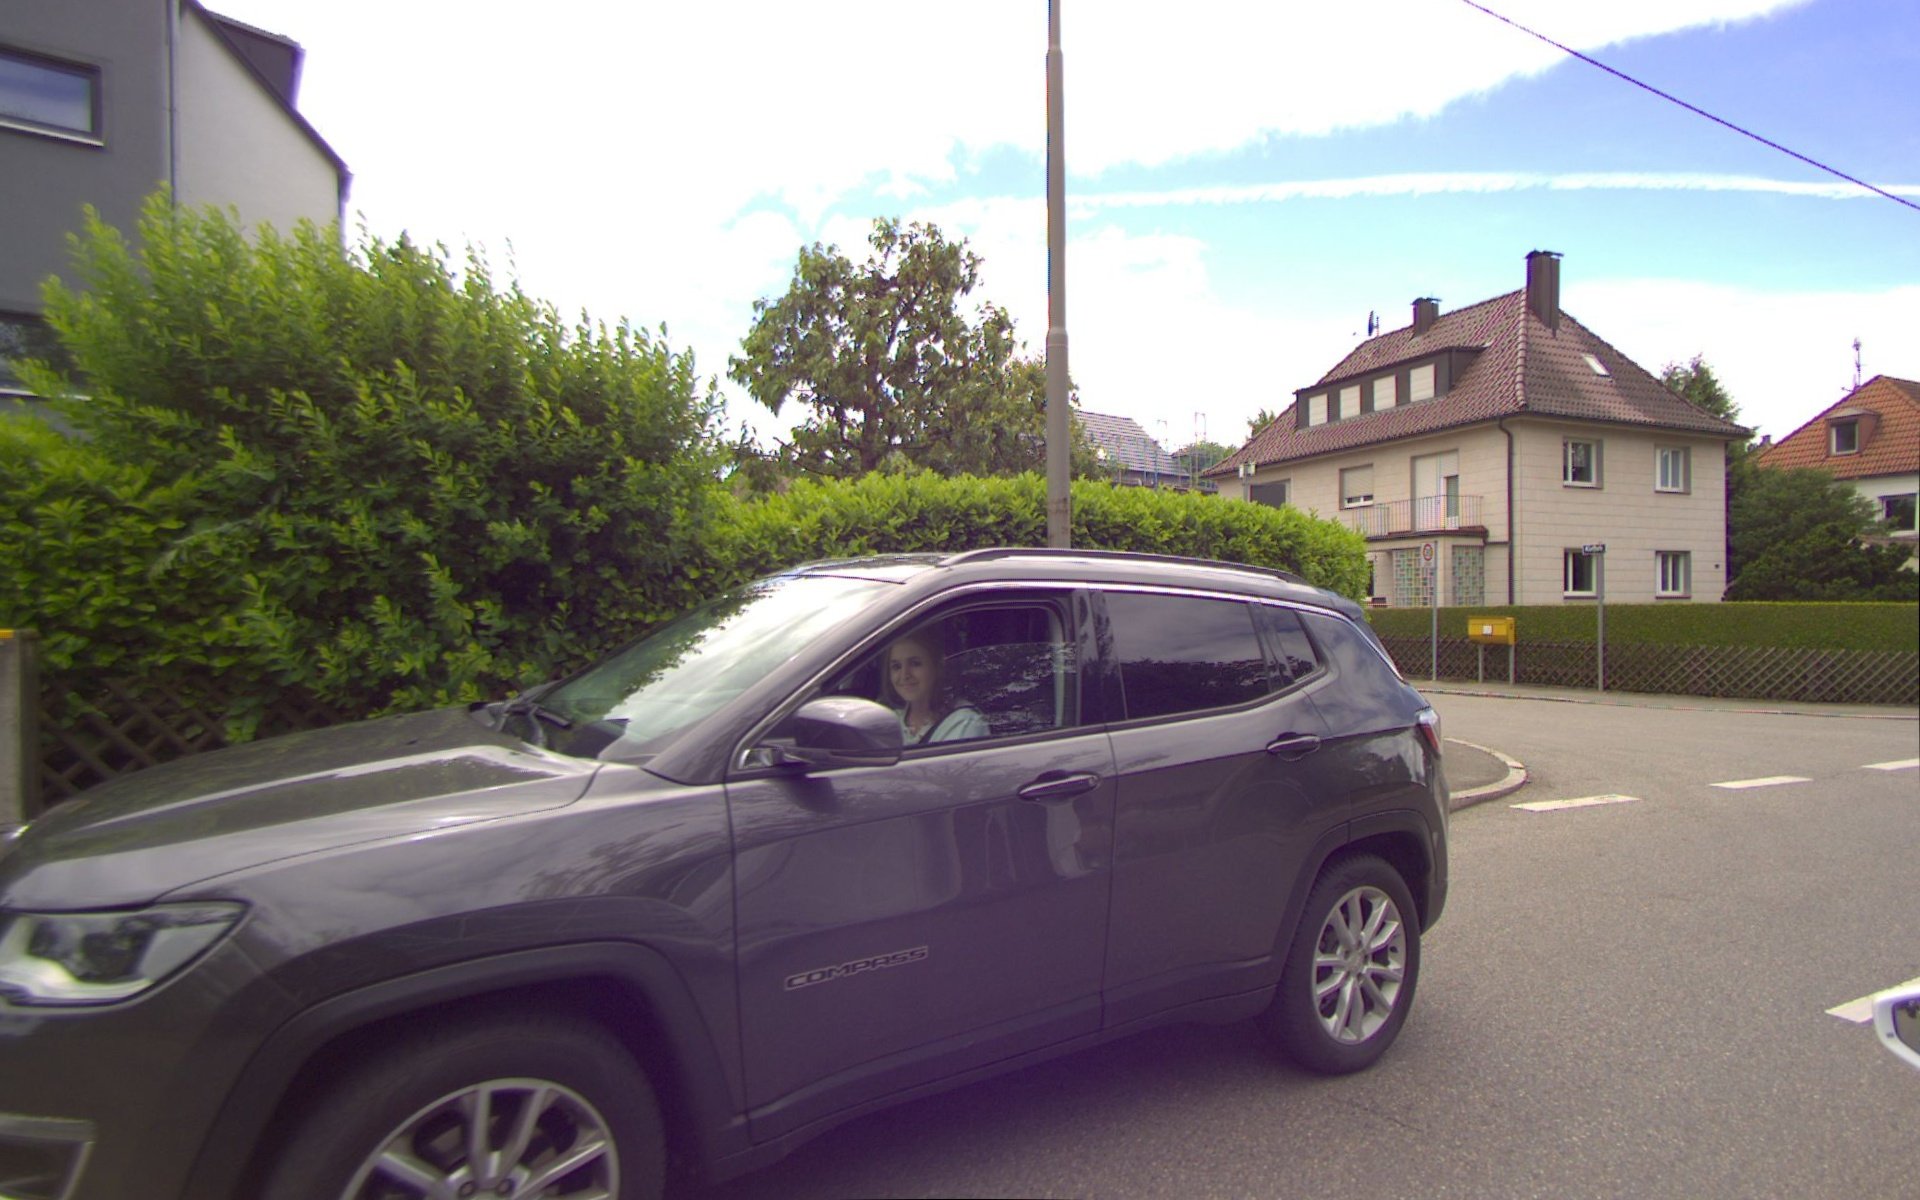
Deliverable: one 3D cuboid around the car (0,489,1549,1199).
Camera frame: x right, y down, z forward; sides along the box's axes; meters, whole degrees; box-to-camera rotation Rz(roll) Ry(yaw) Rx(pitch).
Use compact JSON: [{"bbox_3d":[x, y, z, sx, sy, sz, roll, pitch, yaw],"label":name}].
[{"bbox_3d":[-0.089,0.672,3.318,4.278,1.618,1.823,1,0,-34],"label":"car"}]
